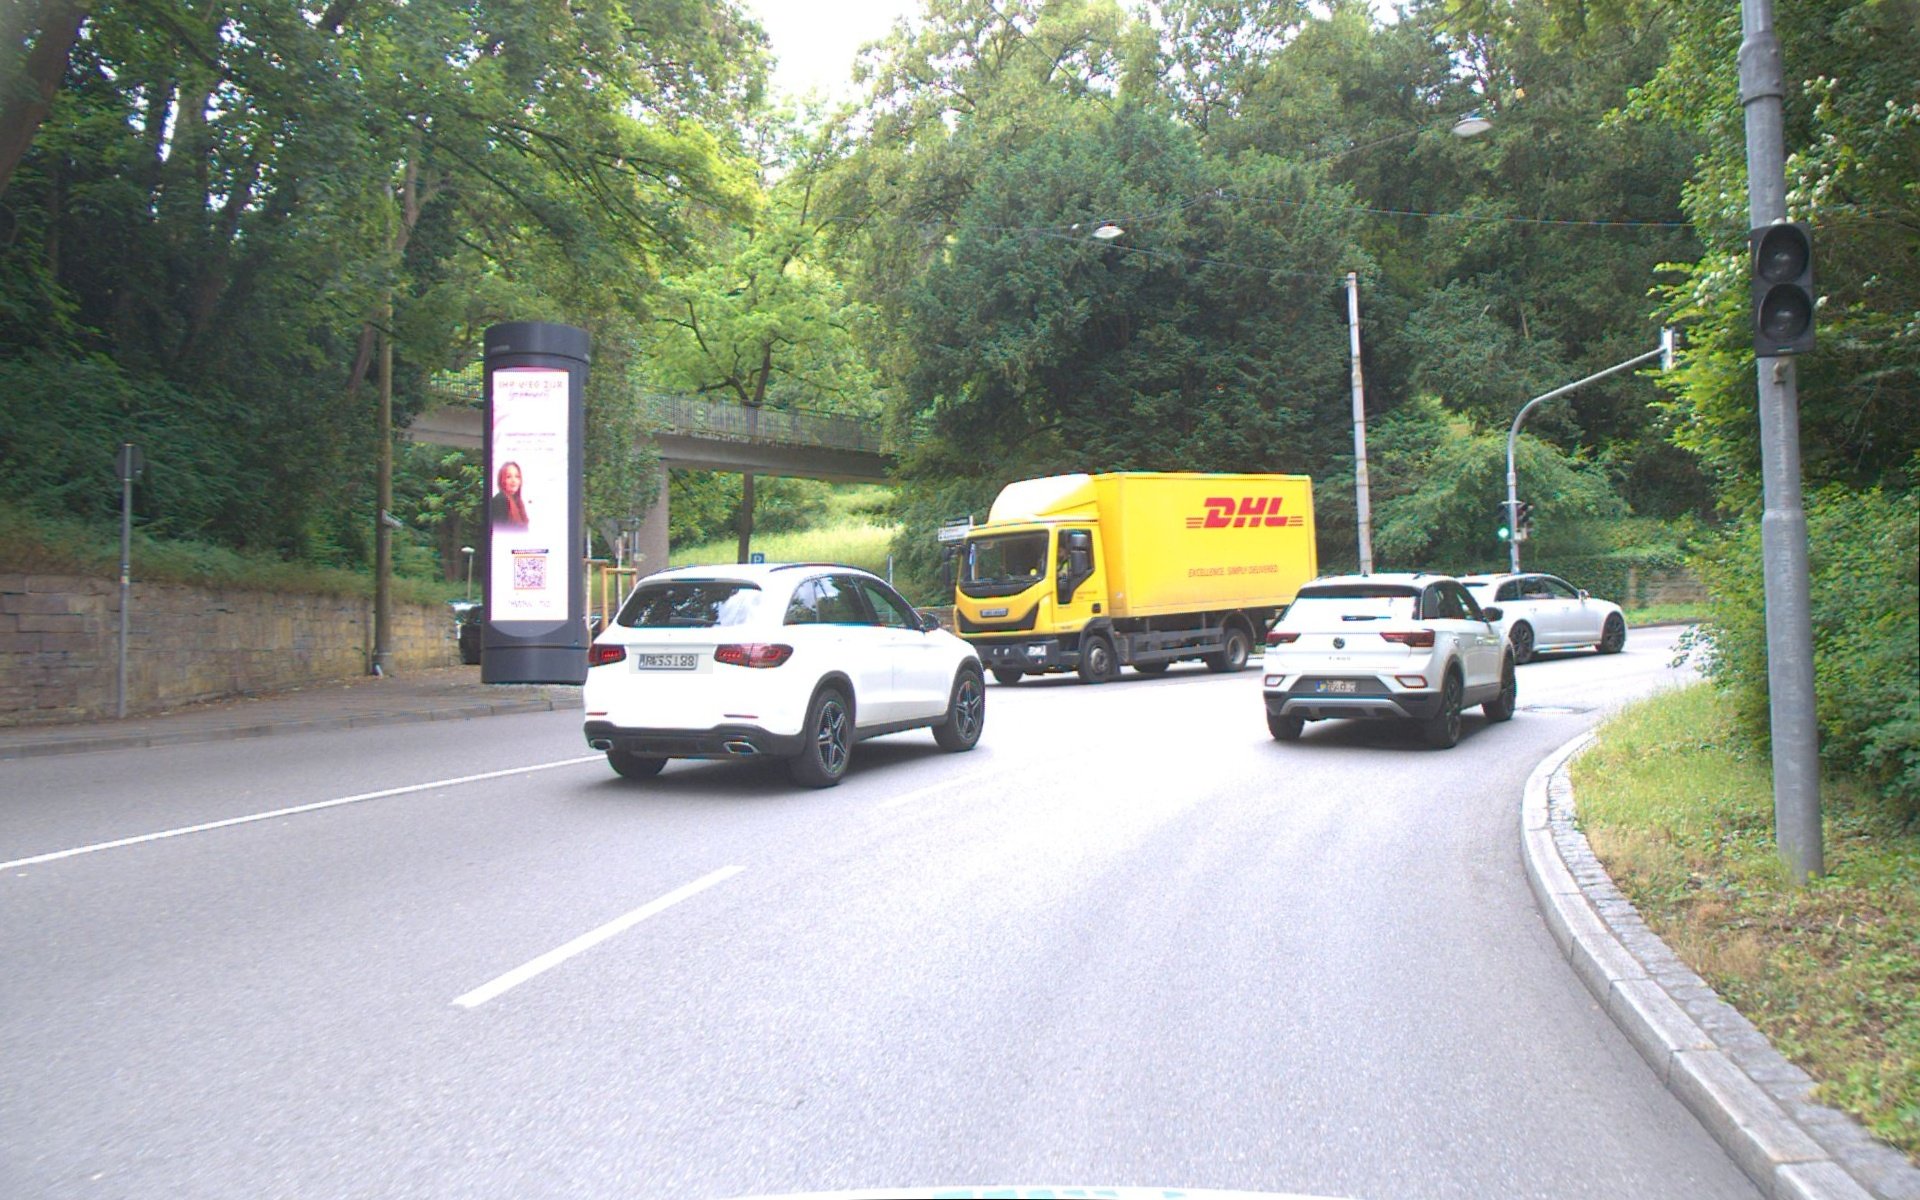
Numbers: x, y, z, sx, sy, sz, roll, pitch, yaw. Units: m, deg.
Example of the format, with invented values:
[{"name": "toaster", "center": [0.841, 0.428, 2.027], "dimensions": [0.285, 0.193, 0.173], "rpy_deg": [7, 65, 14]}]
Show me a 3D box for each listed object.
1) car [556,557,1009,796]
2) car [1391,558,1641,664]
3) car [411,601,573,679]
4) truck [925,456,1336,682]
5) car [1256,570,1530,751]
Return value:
[{"name": "car", "center": [-1.232, 0.556, 13.841], "dimensions": [1.820, 1.634, 4.670], "rpy_deg": [0, -1, 21]}, {"name": "car", "center": [9.535, 0.124, 28.166], "dimensions": [4.732, 1.560, 1.844], "rpy_deg": [-3, 2, -40]}, {"name": "car", "center": [-10.992, 0.920, 38.699], "dimensions": [1.794, 1.714, 4.470], "rpy_deg": [0, -1, -44]}, {"name": "truck", "center": [3.091, -0.481, 28.122], "dimensions": [7.524, 3.358, 2.714], "rpy_deg": [-1, -1, -44]}, {"name": "car", "center": [4.506, 0.493, 16.737], "dimensions": [1.721, 1.580, 4.331], "rpy_deg": [0, 1, 28]}]
